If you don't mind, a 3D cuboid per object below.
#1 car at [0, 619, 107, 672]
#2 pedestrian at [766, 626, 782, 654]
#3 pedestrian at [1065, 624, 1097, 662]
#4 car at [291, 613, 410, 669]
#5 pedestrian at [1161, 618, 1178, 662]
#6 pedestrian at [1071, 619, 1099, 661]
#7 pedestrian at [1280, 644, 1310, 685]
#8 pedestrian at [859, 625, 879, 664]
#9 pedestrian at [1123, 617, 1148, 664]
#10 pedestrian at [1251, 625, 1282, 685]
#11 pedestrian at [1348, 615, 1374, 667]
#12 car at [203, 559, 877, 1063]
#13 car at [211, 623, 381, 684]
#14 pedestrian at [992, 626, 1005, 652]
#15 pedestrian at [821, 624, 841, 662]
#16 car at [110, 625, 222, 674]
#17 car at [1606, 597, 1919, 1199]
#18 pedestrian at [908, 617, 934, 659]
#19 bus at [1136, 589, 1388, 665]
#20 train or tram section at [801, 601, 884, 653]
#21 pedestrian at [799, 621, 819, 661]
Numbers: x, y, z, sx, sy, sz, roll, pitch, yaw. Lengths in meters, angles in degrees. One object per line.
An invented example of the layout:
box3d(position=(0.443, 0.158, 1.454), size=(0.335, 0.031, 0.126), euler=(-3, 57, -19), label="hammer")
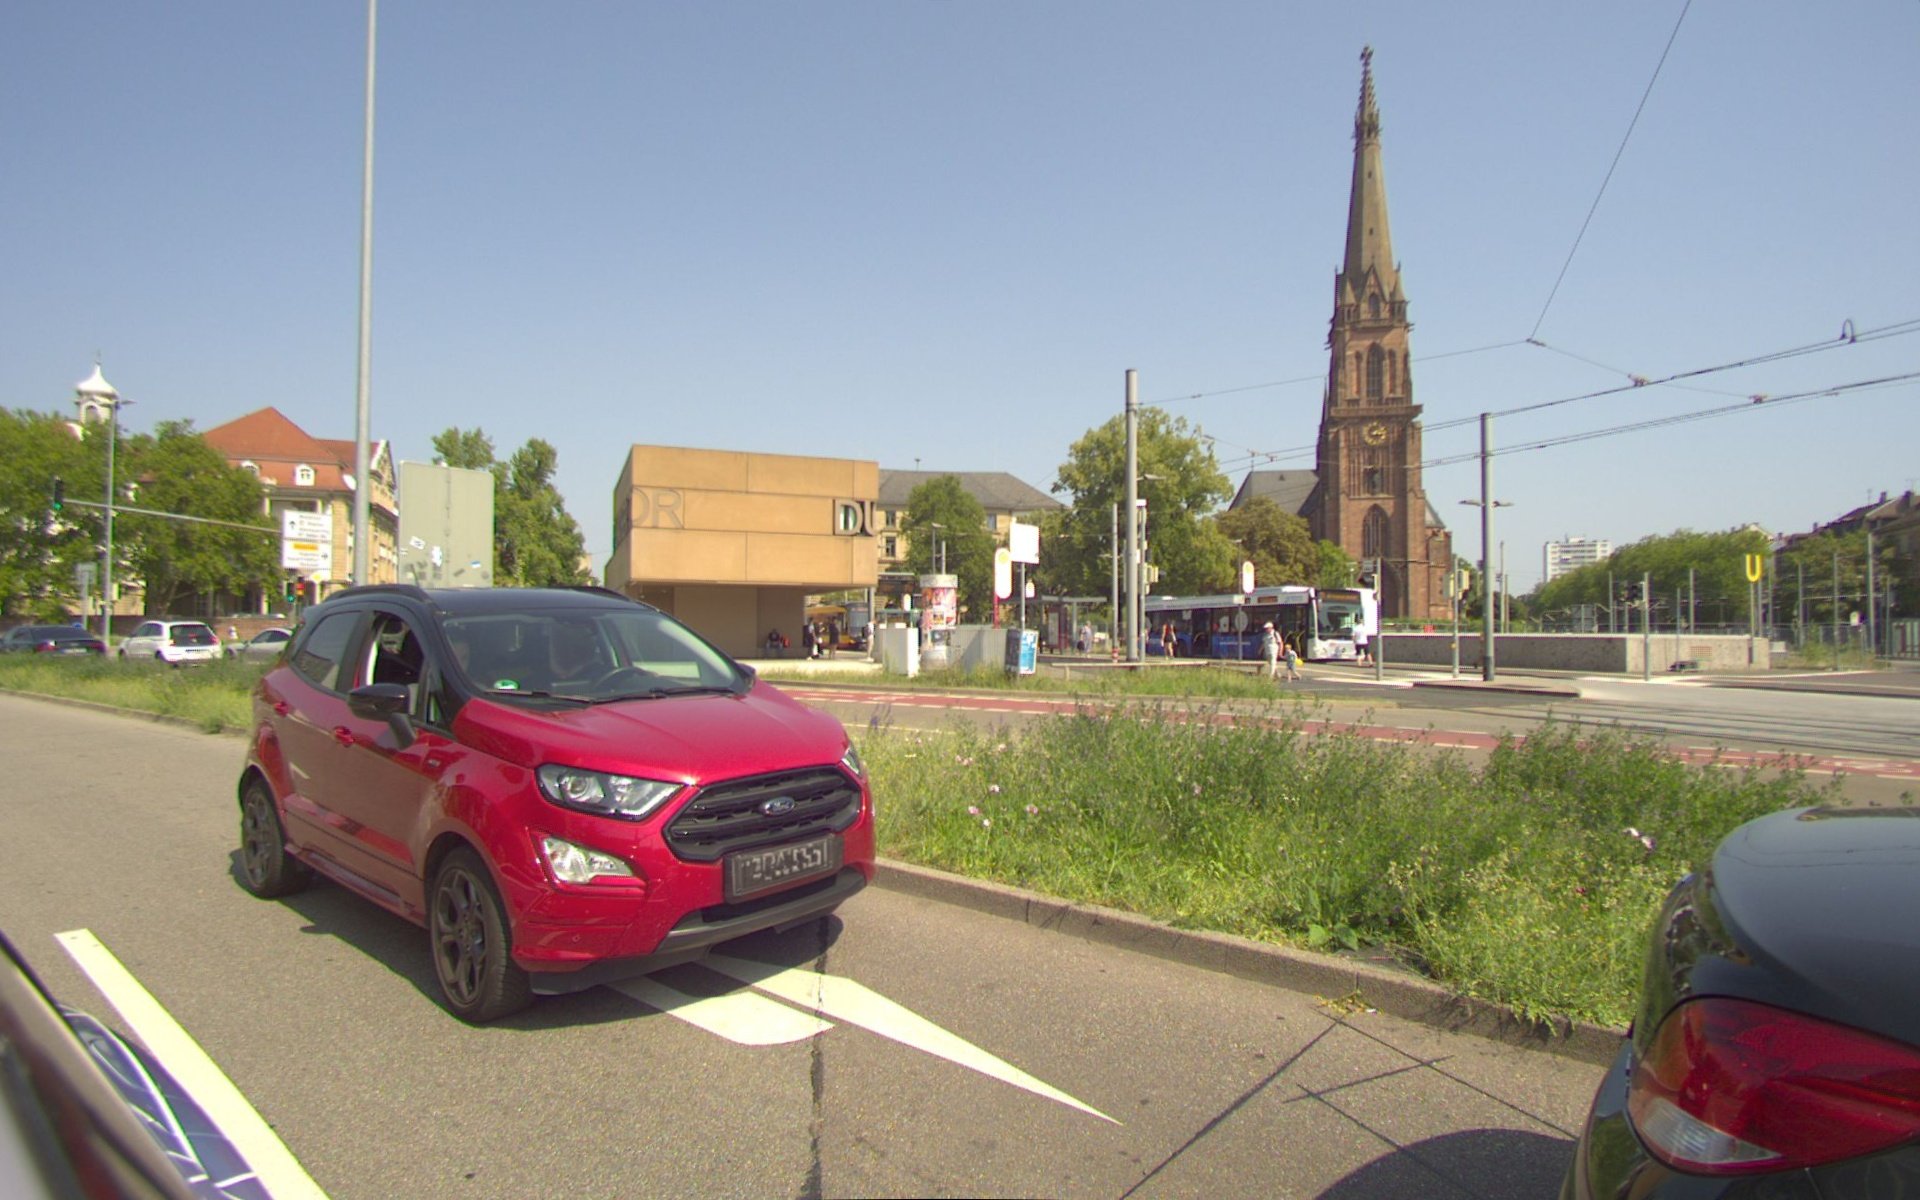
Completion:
box3d(position=(-26.110, 1.273, 29.035), size=(3.466, 1.437, 1.510), euler=(-1, -2, 32), label="car")
box3d(position=(-7.457, 1.603, 40.578), size=(0.530, 1.108, 0.543), euler=(1, -2, -18), label="pedestrian")
box3d(position=(5.438, 1.928, 45.453), size=(1.060, 1.709, 1.068), euler=(1, -2, -21), label="pedestrian")
box3d(position=(-21.288, 1.406, 35.339), size=(3.898, 1.868, 1.851), euler=(0, -2, 29), label="car")
box3d(position=(8.828, 1.687, 42.582), size=(0.632, 1.825, 0.599), euler=(-1, 0, 16), label="pedestrian")
box3d(position=(5.608, 1.779, 45.336), size=(0.913, 1.837, 0.940), euler=(1, -2, -22), label="pedestrian")
box3d(position=(9.647, 1.844, 29.187), size=(0.592, 1.134, 0.639), euler=(-1, 0, -6), label="pedestrian")
box3d(position=(-3.576, 1.758, 39.790), size=(0.541, 1.508, 0.532), euler=(-1, -3, 39), label="pedestrian")
box3d(position=(7.018, 1.616, 40.431), size=(0.792, 1.837, 0.535), euler=(1, -2, -21), label="pedestrian")
box3d(position=(8.908, 1.587, 29.470), size=(0.682, 1.724, 0.537), euler=(0, -2, -9), label="pedestrian")
box3d(position=(14.368, 1.461, 36.255), size=(0.592, 1.825, 0.639), euler=(0, 0, -43), label="pedestrian")
box3d(position=(-2.355, 0.703, 5.136), size=(3.844, 1.598, 1.672), euler=(-2, -1, 42), label="car")
box3d(position=(-18.599, 1.452, 28.318), size=(4.693, 1.597, 1.981), euler=(-1, -2, 28), label="car")
box3d(position=(2.064, 2.073, 53.903), size=(0.546, 1.405, 0.535), euler=(1, -2, -21), label="pedestrian")
box3d(position=(-5.075, 1.696, 39.892), size=(0.541, 1.508, 0.532), euler=(-1, -3, 39), label="pedestrian")
box3d(position=(-25.334, 1.550, 32.273), size=(3.460, 1.490, 1.512), euler=(-1, -2, 27), label="car")
box3d(position=(2.709, 0.665, 0.449), size=(1.745, 1.398, 3.783), euler=(0, -1, -45), label="car")
box3d(position=(-1.426, 1.399, 37.398), size=(0.605, 1.508, 0.761), euler=(-1, -3, 39), label="pedestrian")
box3d(position=(12.092, 1.163, 42.683), size=(3.346, 2.733, 12.382), euler=(1, -2, -21), label="bus")
box3d(position=(-8.775, 2.008, 73.828), size=(2.658, 3.465, 13.464), euler=(1, -2, -21), label="train or tram section")
box3d(position=(-5.820, 1.573, 39.040), size=(0.541, 1.508, 0.532), euler=(-1, -3, 39), label="pedestrian")
